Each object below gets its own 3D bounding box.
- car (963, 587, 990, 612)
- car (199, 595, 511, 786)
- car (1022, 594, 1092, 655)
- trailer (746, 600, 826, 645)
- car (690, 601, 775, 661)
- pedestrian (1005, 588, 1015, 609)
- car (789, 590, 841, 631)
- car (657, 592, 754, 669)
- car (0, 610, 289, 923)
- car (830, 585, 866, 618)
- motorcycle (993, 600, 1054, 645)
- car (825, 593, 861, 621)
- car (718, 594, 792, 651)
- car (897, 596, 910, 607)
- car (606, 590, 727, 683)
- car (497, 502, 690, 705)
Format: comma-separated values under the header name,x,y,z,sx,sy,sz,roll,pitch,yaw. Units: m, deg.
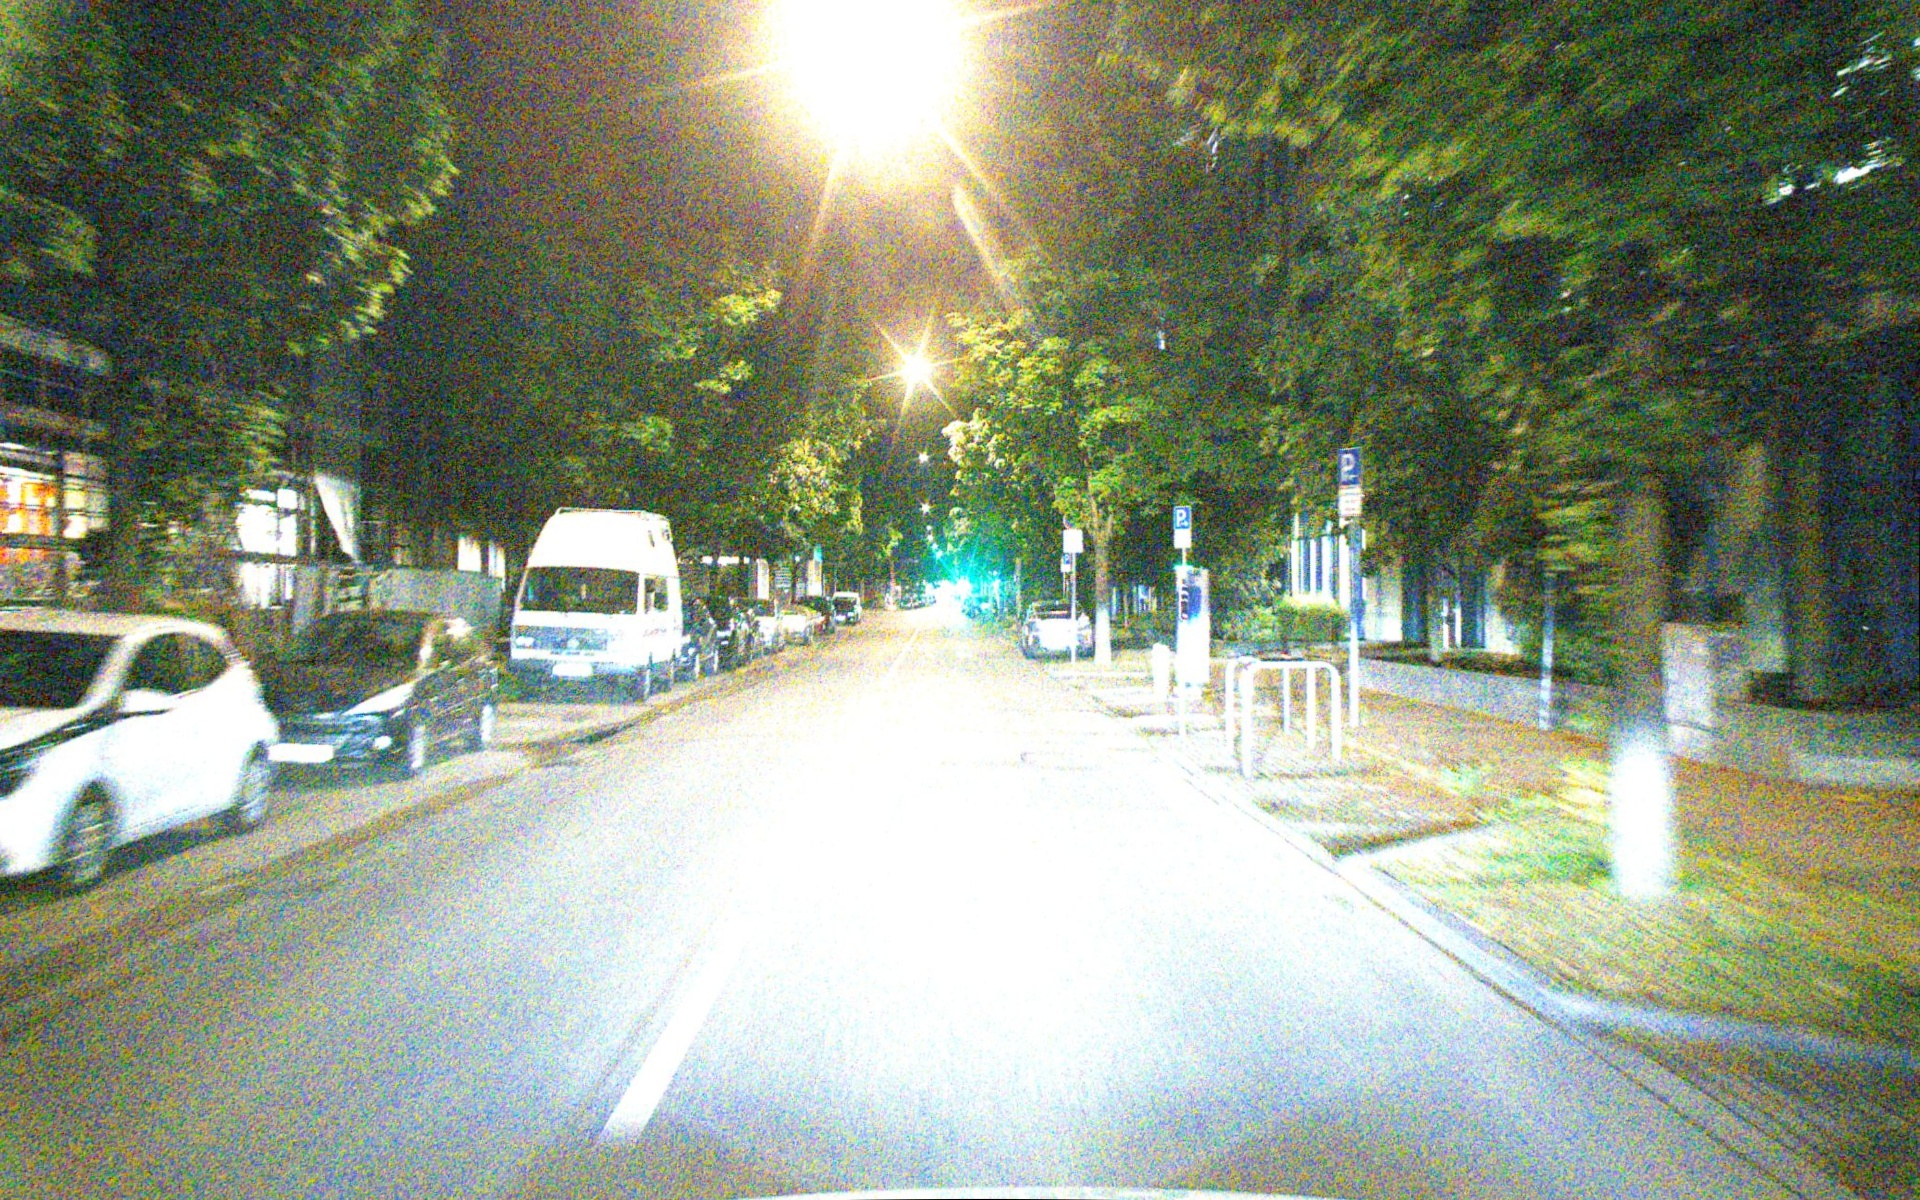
name,x,y,z,sx,sy,sz,roll,pitch,yaw
car,1.134,-0.048,114.020,1.815,1.683,4.209,0,0,0
car,-5.617,0.760,15.863,1.612,1.531,3.860,2,0,-2
car,2.490,0.606,43.323,1.634,1.454,4.148,-2,0,1
trailer,-5.844,0.718,56.245,2.067,1.358,5.435,2,0,0
car,-5.928,0.765,43.549,1.670,1.436,4.632,-1,1,-1
pedestrian,4.138,-0.119,136.687,0.691,1.752,0.821,-2,0,-1
car,-6.209,0.433,71.163,1.785,1.626,4.073,3,0,0
car,-5.775,0.661,37.967,1.707,1.634,4.296,1,0,-3
car,-5.462,0.846,9.952,1.516,1.480,3.367,1,0,-2
car,-6.744,0.075,100.100,1.785,1.843,4.210,3,0,0
motorcycle,1.886,0.669,49.629,0.914,1.306,2.217,-1,0,-25
car,-6.572,0.369,93.172,1.665,1.458,3.828,3,0,0
car,-5.969,0.615,48.495,1.682,1.528,4.204,2,0,-2
car,-7.564,0.165,221.456,1.705,1.440,3.752,0,0,0
car,-5.703,0.657,32.610,1.707,1.634,4.115,2,1,-2
car,-5.821,0.042,26.917,2.135,2.960,4.908,1,0,-2
